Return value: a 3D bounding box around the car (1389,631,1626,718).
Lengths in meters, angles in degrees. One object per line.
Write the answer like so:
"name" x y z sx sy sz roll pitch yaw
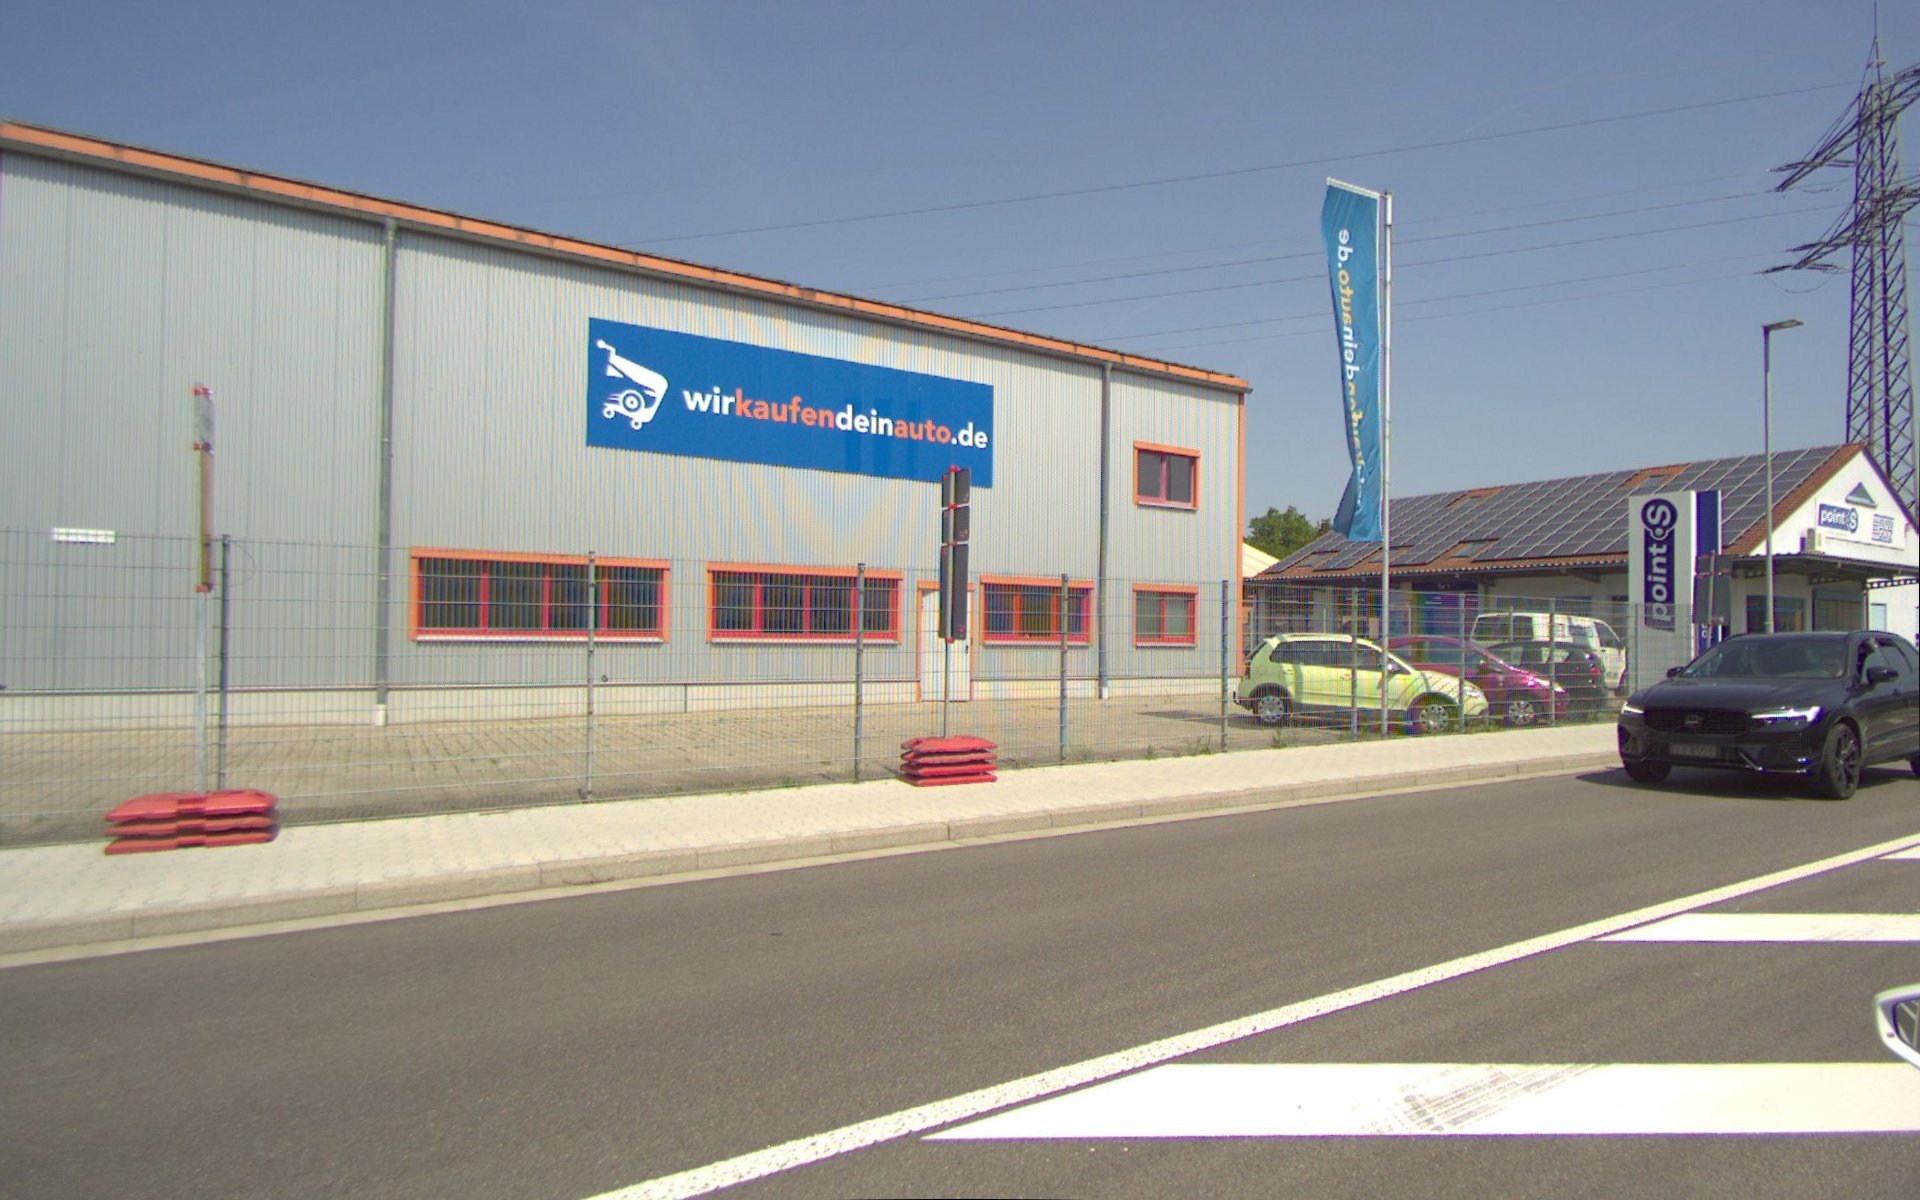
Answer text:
"car" 10.668 1.383 19.666 3.933 1.513 1.739 0 -2 34

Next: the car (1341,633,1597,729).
"car" 9.023 1.380 18.053 3.926 1.513 1.742 0 -2 27

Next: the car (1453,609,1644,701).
"car" 14.226 1.333 24.220 4.626 2.040 1.984 2 -3 -30

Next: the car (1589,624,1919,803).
"car" 9.217 1.155 11.179 4.469 1.637 1.873 2 -4 -30

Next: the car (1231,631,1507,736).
"car" 6.654 1.295 16.572 4.015 1.513 1.743 0 -2 24
